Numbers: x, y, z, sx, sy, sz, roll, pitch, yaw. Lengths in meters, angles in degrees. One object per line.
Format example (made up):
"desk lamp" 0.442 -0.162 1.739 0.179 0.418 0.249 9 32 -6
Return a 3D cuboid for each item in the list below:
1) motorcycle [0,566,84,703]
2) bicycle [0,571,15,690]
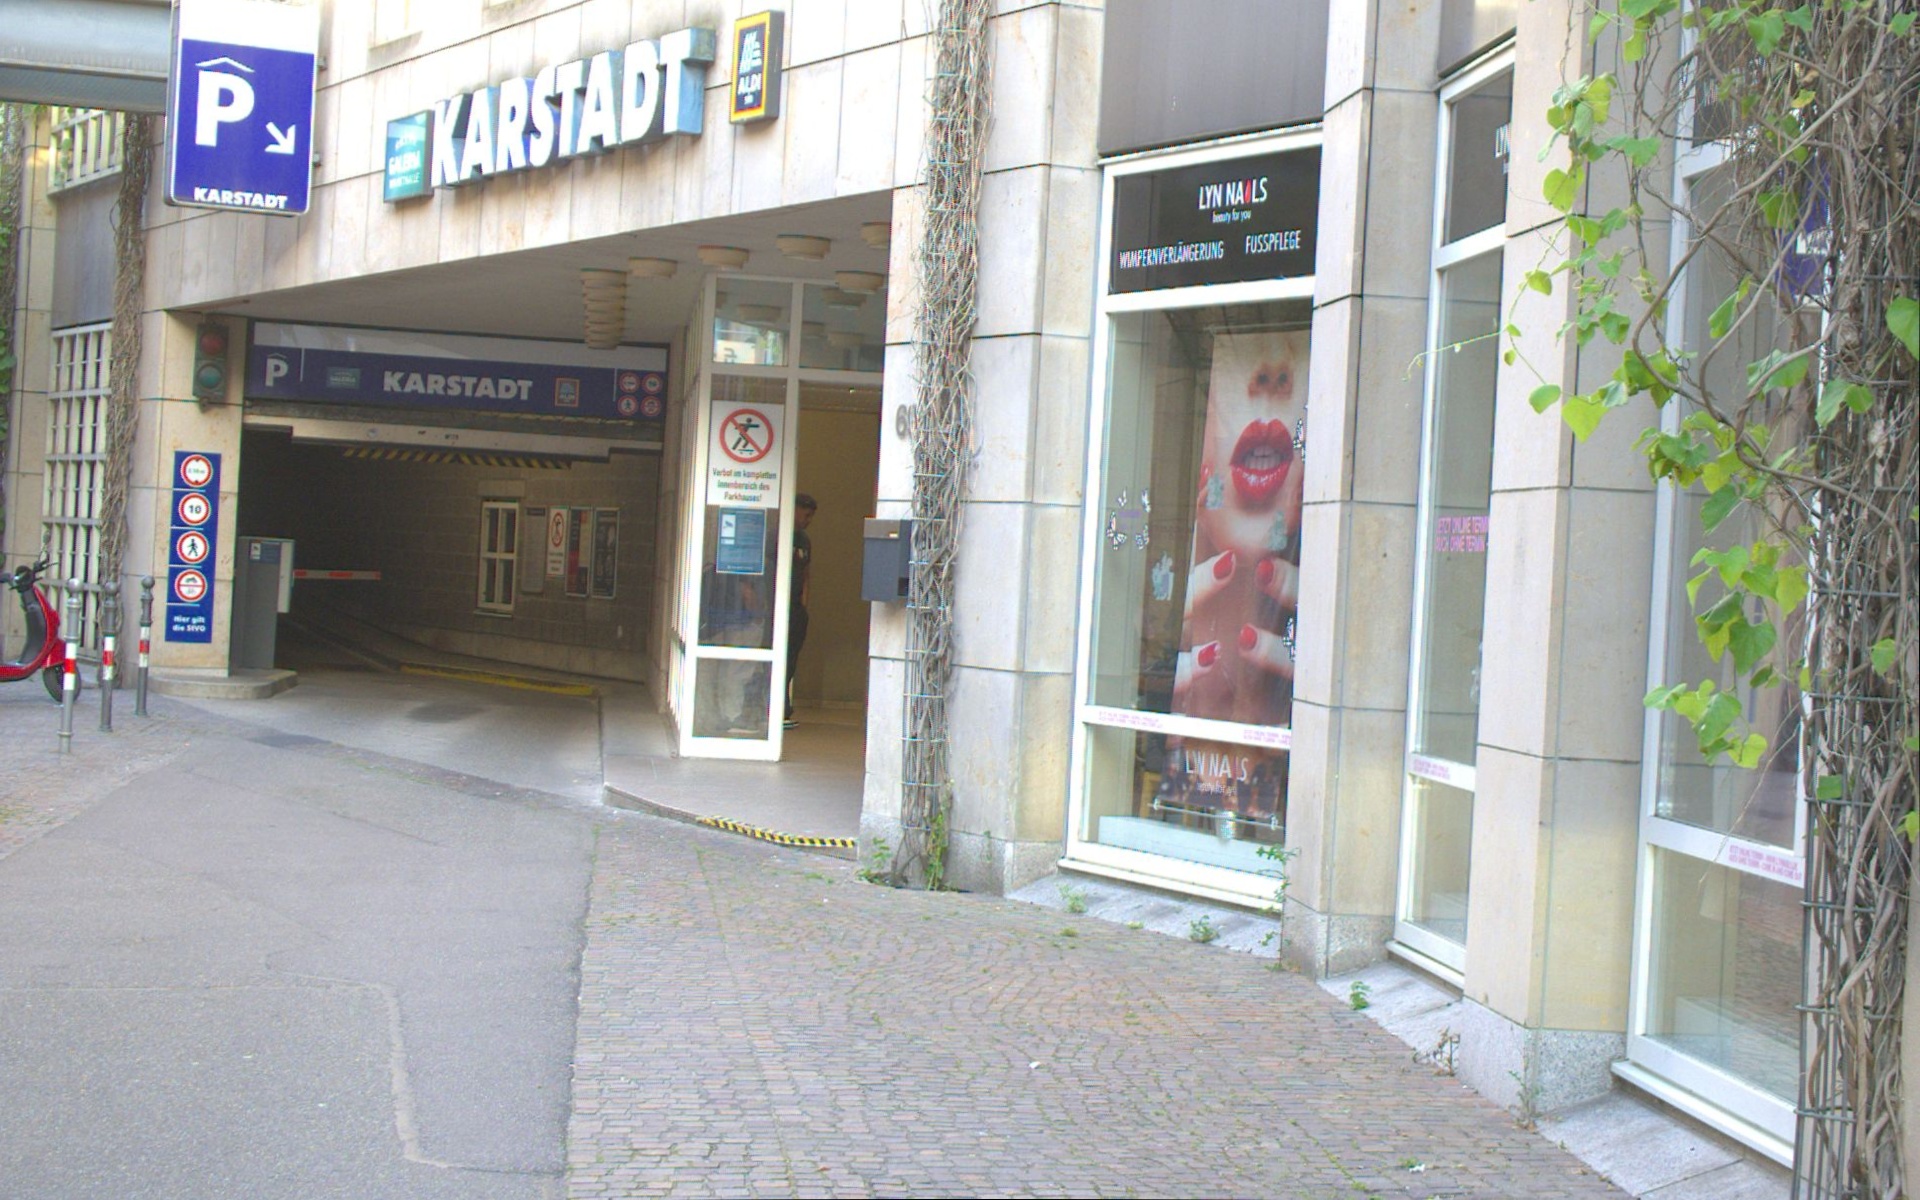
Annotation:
"motorcycle" -7.765 0.254 26.919 1.662 1.047 0.464 2 1 -26
"bicycle" -8.819 0.228 28.441 1.847 0.978 0.464 2 1 -26
